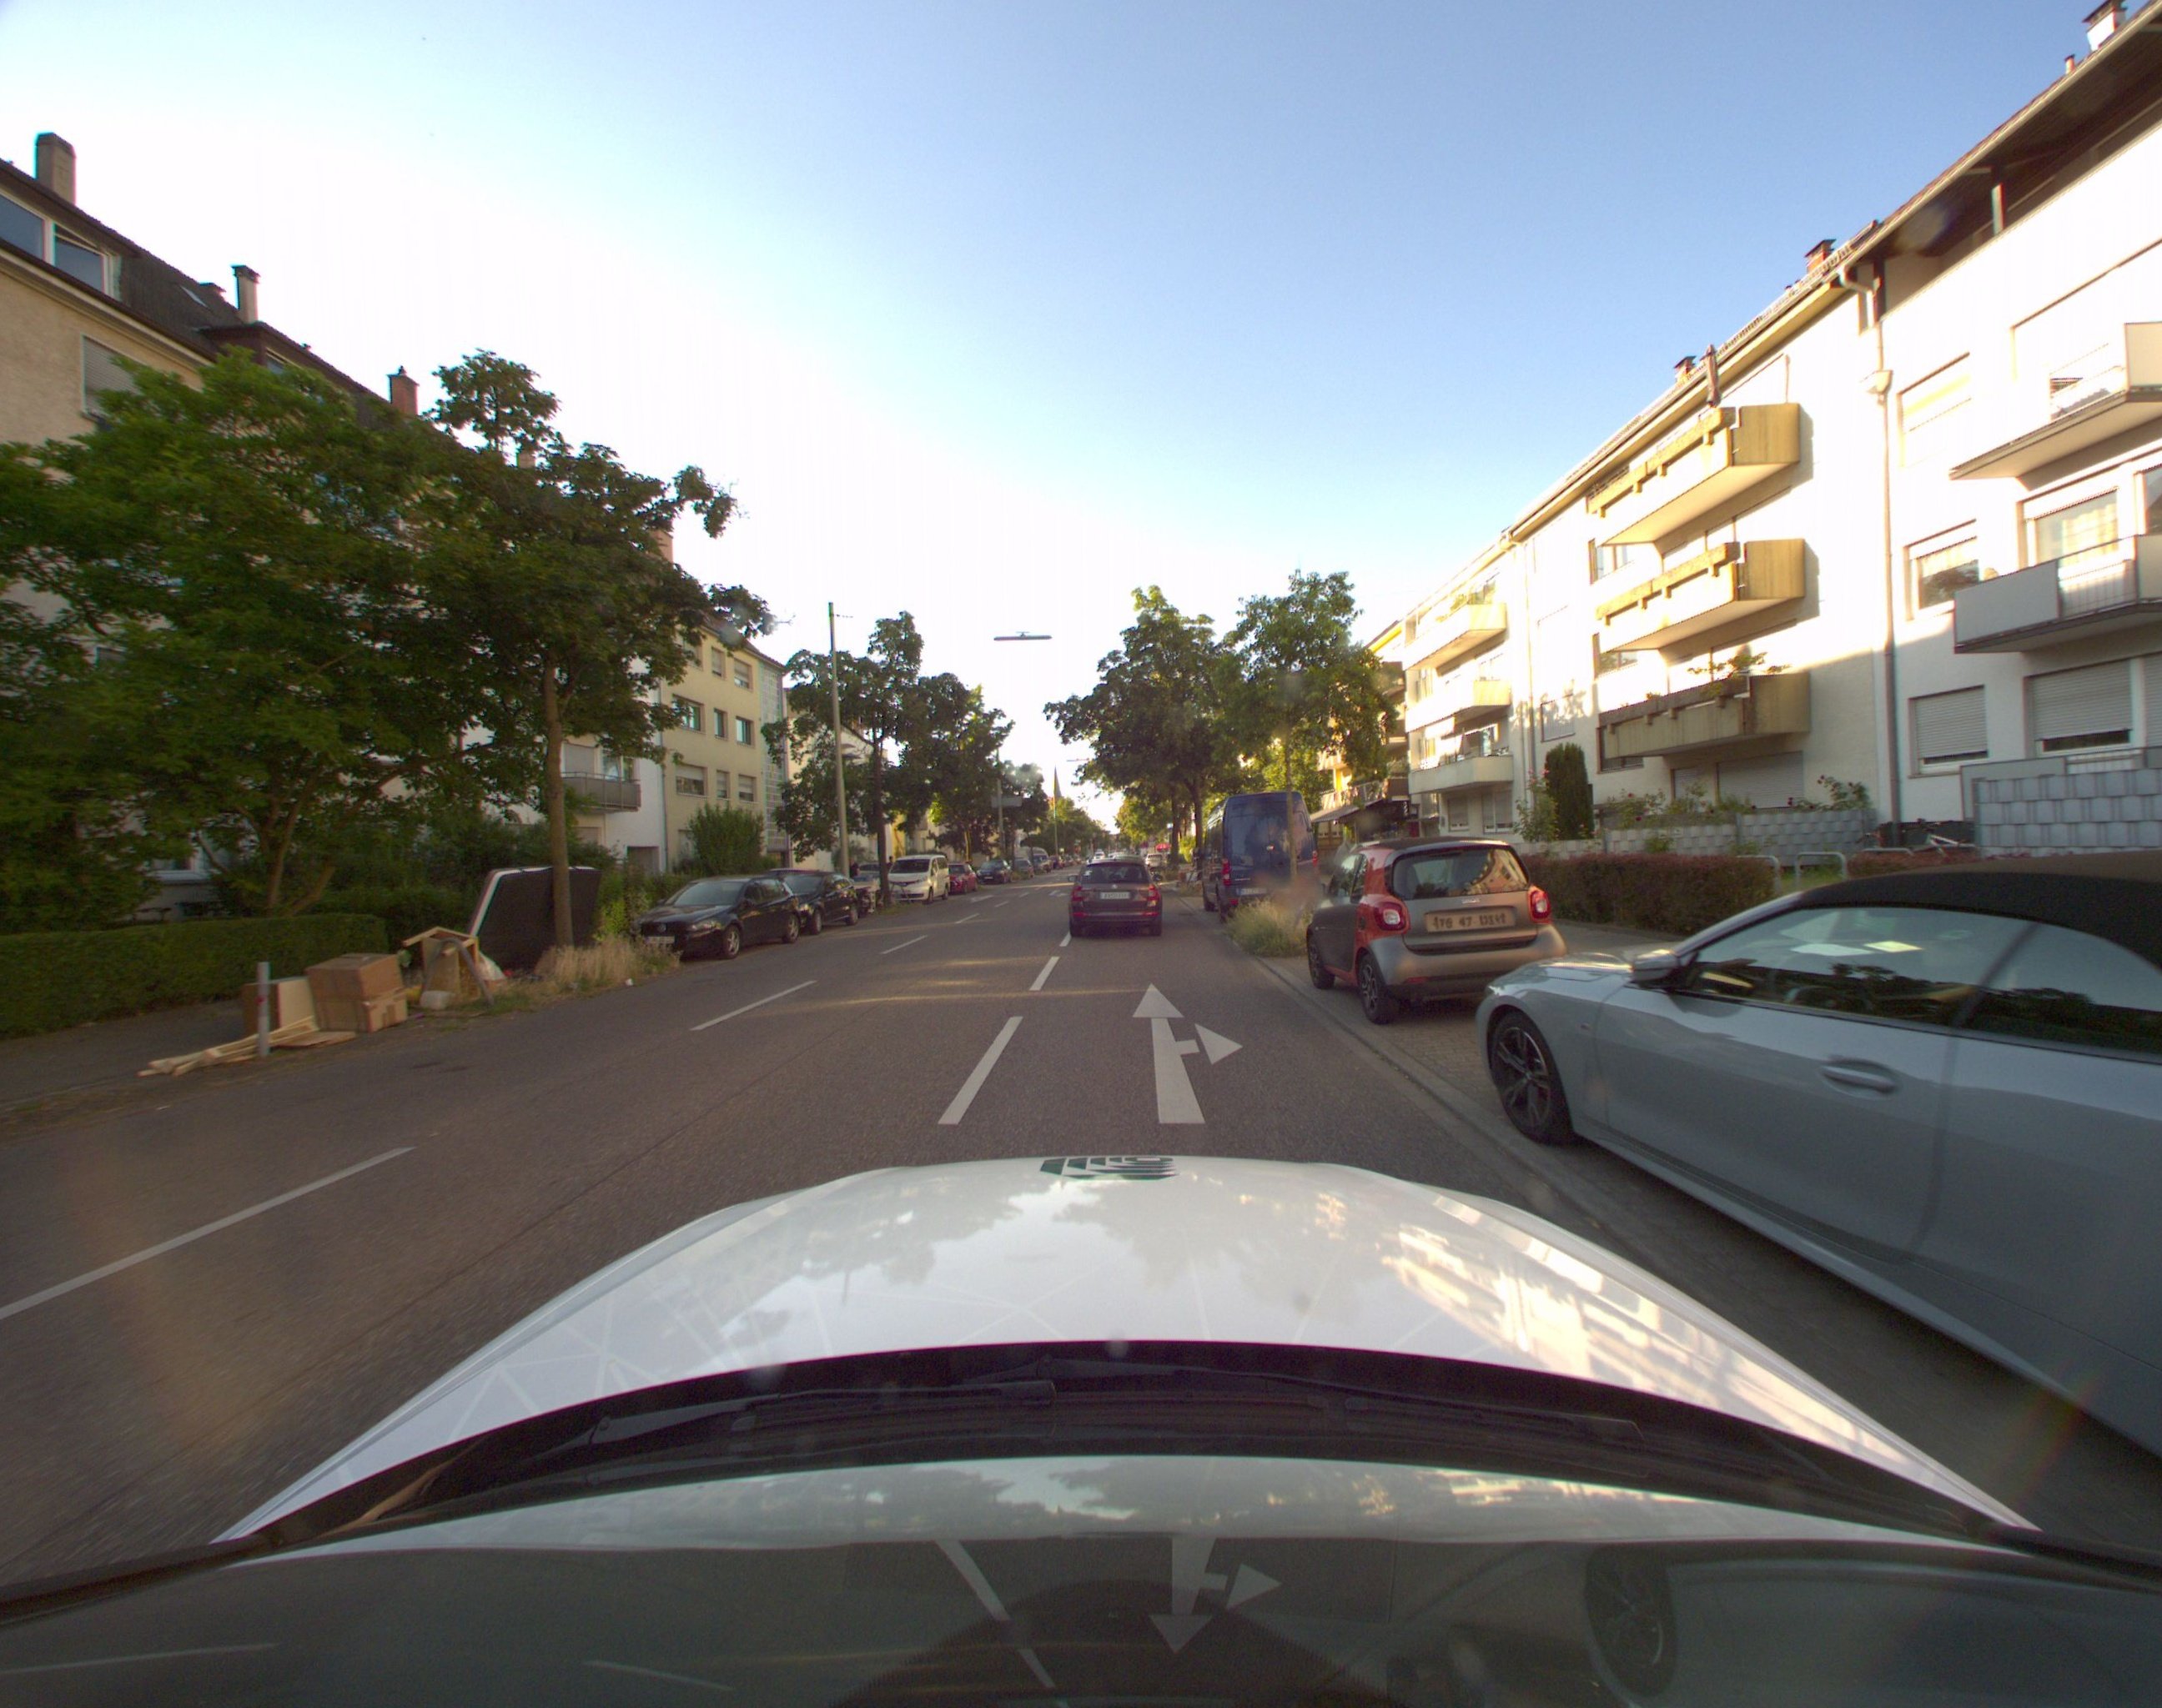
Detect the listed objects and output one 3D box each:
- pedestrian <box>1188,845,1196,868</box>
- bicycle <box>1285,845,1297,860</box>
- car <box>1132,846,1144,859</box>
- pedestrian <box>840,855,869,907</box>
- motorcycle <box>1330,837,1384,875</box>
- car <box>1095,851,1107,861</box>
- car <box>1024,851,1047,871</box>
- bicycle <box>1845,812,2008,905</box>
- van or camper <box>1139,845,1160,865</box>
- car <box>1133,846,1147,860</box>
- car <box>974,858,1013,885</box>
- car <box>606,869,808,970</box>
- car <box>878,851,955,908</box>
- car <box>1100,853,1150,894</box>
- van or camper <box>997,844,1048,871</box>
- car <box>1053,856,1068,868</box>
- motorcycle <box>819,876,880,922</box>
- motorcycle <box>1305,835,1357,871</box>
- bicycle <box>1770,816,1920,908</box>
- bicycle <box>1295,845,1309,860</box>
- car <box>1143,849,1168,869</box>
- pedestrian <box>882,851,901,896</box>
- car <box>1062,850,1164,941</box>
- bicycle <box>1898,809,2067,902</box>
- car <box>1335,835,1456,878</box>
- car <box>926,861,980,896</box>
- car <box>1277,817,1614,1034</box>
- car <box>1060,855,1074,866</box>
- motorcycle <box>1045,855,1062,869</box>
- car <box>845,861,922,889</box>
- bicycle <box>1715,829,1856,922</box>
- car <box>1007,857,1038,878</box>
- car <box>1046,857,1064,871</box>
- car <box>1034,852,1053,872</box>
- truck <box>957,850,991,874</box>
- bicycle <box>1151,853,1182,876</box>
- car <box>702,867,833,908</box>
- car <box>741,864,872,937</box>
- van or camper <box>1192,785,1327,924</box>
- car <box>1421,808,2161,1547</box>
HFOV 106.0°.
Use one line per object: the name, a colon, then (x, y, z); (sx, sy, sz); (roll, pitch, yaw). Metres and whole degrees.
pedestrian: (8.883, 0.200, 65.063); (0.532, 1.794, 0.688); (-2, 0, 4)
bicycle: (13.945, -0.084, 54.115); (0.341, 0.950, 1.580); (0, 0, -3)
car: (8.693, -0.227, 124.451); (1.723, 1.815, 3.952); (-2, 0, 1)
pedestrian: (-9.019, 1.052, 32.427); (0.764, 2.013, 0.976); (-2, 0, 2)
motorcycle: (12.690, 0.083, 37.484); (2.181, 1.621, 0.892); (-2, 0, 9)
car: (3.807, 0.323, 156.231); (1.867, 1.757, 4.187); (-2, 0, 7)
car: (-4.178, 0.646, 75.100); (1.743, 1.740, 3.593); (-2, 0, 3)
bicycle: (10.746, 0.047, 10.423); (0.490, 1.089, 1.545); (-2, 0, 2)
van or camper: (7.424, 0.105, 88.659); (1.985, 2.013, 4.003); (-2, 0, 3)
car: (8.123, -0.087, 111.962); (1.723, 1.815, 3.952); (-2, 0, 1)
car: (-5.367, 1.045, 50.408); (1.710, 1.497, 4.251); (-2, 0, 3)
car: (-6.998, 1.153, 15.810); (1.743, 1.502, 4.200); (-2, 0, 3)
car: (-6.259, 0.914, 31.530); (1.762, 1.919, 4.463); (-2, 0, 3)
car: (1.737, 0.738, 33.361); (1.724, 1.493, 3.949); (-3, 0, -1)
van or camper: (-9.079, 0.561, 126.552); (7.614, 3.874, 2.000); (-3, 0, 0)
car: (-2.666, 1.000, 105.284); (1.657, 1.432, 3.277); (-2, 0, 3)
motorcycle: (-6.758, 1.293, 23.811); (0.436, 1.192, 1.718); (-2, 0, 40)
motorcycle: (11.775, -0.057, 38.437); (2.181, 1.621, 0.733); (-2, 0, 9)
bicycle: (9.791, 0.089, 10.514); (0.490, 1.089, 1.545); (-2, 0, 2)
bicycle: (14.521, -0.123, 53.498); (0.341, 0.950, 1.580); (-5, 0, -3)
car: (5.896, 0.370, 64.663); (1.812, 1.413, 4.117); (-2, 0, 5)
pedestrian: (-8.738, 0.892, 37.478); (0.624, 2.013, 0.616); (-2, 0, 2)
car: (0.688, 0.721, 16.194); (1.722, 1.493, 3.955); (-2, 0, 4)
bicycle: (11.590, 0.009, 10.543); (0.490, 1.089, 1.545); (-2, 0, 2)
car: (12.187, 0.086, 31.711); (3.975, 1.462, 1.824); (-3, 0, -1)
car: (-5.975, 1.124, 38.326); (1.710, 1.421, 3.789); (-2, 0, 3)
car: (3.334, 0.579, 8.324); (1.766, 1.642, 3.758); (-3, 0, 1)
car: (-2.015, 0.891, 116.812); (1.657, 1.432, 3.277); (-2, 0, 3)
motorcycle: (-3.046, 0.878, 90.029); (0.771, 1.511, 2.006); (-3, 0, -40)
car: (-11.511, 1.196, 47.704); (3.975, 1.479, 1.999); (-2, 0, -1)
bicycle: (8.951, 0.249, 10.425); (0.490, 1.089, 1.545); (-2, 0, 2)
car: (-4.469, 1.016, 62.689); (1.747, 1.420, 4.430); (-2, 0, 3)
car: (-2.984, 1.168, 95.048); (1.657, 1.511, 4.181); (-2, 0, 3)
car: (-3.668, 0.777, 79.755); (1.501, 1.757, 3.696); (-2, 0, 3)
truck: (-10.060, 0.752, 76.670); (2.902, 2.093, 1.547); (-3, 0, 2)
bicycle: (5.148, 0.651, 49.029); (1.658, 1.226, 0.638); (-5, 0, 15)
car: (-12.853, 1.332, 33.694); (4.712, 1.362, 1.993); (-3, 0, -11)
car: (-6.835, 1.100, 20.756); (1.743, 1.502, 3.981); (-2, 0, 3)
van or camper: (3.943, 0.024, 19.140); (2.059, 2.675, 5.994); (-3, 0, 3)
car: (3.111, 0.614, 2.688); (1.914, 1.486, 4.744); (-3, 0, -1)
